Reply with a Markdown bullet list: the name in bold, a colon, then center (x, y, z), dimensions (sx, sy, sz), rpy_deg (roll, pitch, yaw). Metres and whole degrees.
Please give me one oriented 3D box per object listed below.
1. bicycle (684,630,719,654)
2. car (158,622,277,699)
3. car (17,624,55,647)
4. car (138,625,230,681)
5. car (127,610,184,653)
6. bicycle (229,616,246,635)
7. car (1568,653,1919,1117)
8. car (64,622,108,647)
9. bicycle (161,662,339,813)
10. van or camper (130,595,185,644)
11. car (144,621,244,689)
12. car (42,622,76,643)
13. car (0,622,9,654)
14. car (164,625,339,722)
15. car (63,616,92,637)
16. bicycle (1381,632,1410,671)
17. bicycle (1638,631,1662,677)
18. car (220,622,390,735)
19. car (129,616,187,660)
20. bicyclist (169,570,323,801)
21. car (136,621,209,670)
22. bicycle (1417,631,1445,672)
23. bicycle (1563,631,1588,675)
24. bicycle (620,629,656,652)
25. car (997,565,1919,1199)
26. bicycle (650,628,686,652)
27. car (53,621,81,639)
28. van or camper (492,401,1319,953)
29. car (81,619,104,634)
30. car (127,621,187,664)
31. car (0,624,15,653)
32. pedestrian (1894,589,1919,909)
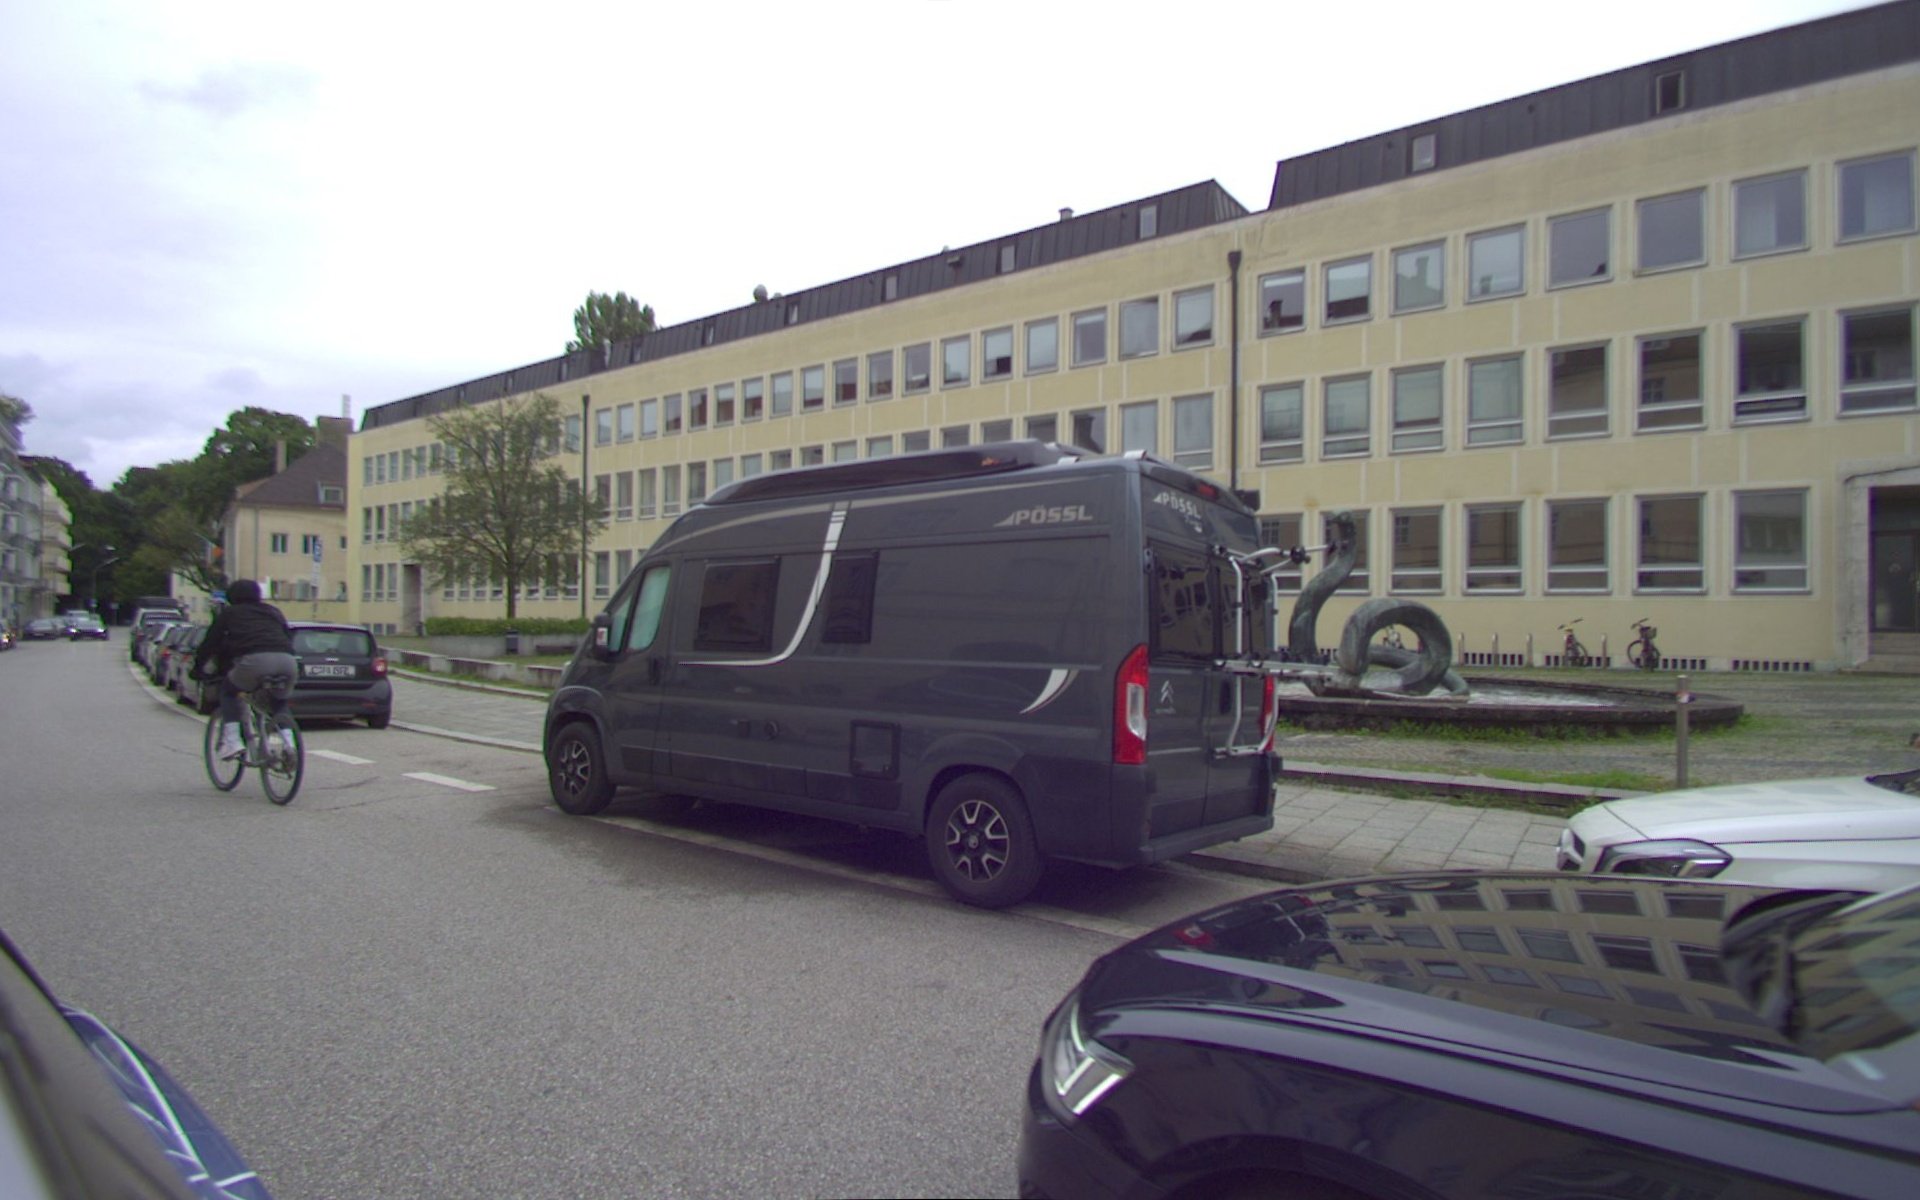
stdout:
- **bicycle**: center (-10.848, 1.755, 42.518), dimensions (0.501, 0.952, 1.594), rpy_deg (-1, -1, 27)
- **car**: center (-15.838, 1.254, 21.522), dimensions (1.611, 1.506, 3.608), rpy_deg (5, -4, -42)
- **car**: center (-62.578, 2.389, 68.585), dimensions (1.749, 1.487, 4.224), rpy_deg (1, -2, -41)
- **car**: center (-22.446, 1.503, 29.214), dimensions (1.719, 1.433, 4.300), rpy_deg (5, -4, -41)
- **car**: center (-39.316, 1.552, 49.395), dimensions (1.891, 1.975, 4.969), rpy_deg (4, -4, -41)
- **bicycle**: center (-49.488, 1.732, 69.335), dimensions (0.792, 1.243, 1.872), rpy_deg (2, -2, -39)
- **car**: center (4.573, 0.981, 3.497), dimensions (4.202, 1.462, 1.978), rpy_deg (0, -4, 33)
- **car**: center (-56.164, 2.207, 65.081), dimensions (1.968, 1.541, 4.007), rpy_deg (0, -2, -39)
- **bicycle**: center (-5.902, 1.075, 8.371), dimensions (1.933, 1.078, 0.580), rpy_deg (-1, -4, 37)
- **van or camper**: center (-47.236, 1.184, 59.682), dimensions (2.263, 2.671, 5.573), rpy_deg (4, -3, -37)
- **car**: center (-18.845, 1.307, 24.825), dimensions (1.611, 1.506, 4.281), rpy_deg (4, -3, -41)
- **car**: center (-68.931, 2.459, 77.463), dimensions (1.768, 1.493, 4.611), rpy_deg (0, -1, -40)
- **car**: center (-45.351, 1.763, 46.750), dimensions (1.750, 1.440, 4.623), rpy_deg (0, -1, -40)
- **car**: center (-12.420, 1.210, 17.629), dimensions (1.753, 1.477, 4.470), rpy_deg (5, -4, -44)
- **car**: center (-85.598, 2.584, 98.234), dimensions (1.830, 2.046, 4.792), rpy_deg (1, -2, -38)
- **bicycle**: center (11.201, 1.310, 26.039), dimensions (0.413, 0.952, 1.458), rpy_deg (-1, -1, 34)
- **bicycle**: center (15.381, 1.187, 22.576), dimensions (0.413, 0.952, 1.692), rpy_deg (-1, -1, 34)
- **car**: center (-9.664, 1.100, 14.880), dimensions (1.501, 1.477, 2.889), rpy_deg (5, -4, -44)
- **car**: center (-32.810, 1.537, 41.387), dimensions (1.693, 1.702, 4.148), rpy_deg (4, -3, -39)
- **bicyclist**: center (-5.907, 0.690, 8.382), dimensions (0.814, 1.785, 0.737), rpy_deg (-2, -5, 37)
- **car**: center (-26.165, 1.499, 33.589), dimensions (1.611, 1.506, 4.106), rpy_deg (5, -4, -41)
- **bicycle**: center (11.918, 1.292, 25.612), dimensions (0.413, 0.952, 1.458), rpy_deg (-1, -1, 34)
- **bicycle**: center (14.292, 1.220, 23.492), dimensions (0.413, 0.952, 1.458), rpy_deg (-1, -1, 34)
- **bicycle**: center (-14.439, 1.815, 45.469), dimensions (0.501, 0.952, 1.591), rpy_deg (-1, -1, 32)
- **car**: center (2.403, 0.710, 0.823), dimensions (4.706, 1.423, 1.898), rpy_deg (-1, -4, 45)
- **bicycle**: center (-12.690, 1.727, 44.027), dimensions (0.501, 0.952, 1.591), rpy_deg (-1, -1, 32)
- **car**: center (-76.310, 2.546, 86.522), dimensions (1.643, 1.478, 4.383), rpy_deg (2, -1, -41)
- **van or camper**: center (-0.751, 0.439, 7.534), dimensions (6.075, 2.601, 2.276), rpy_deg (-1, -4, 37)
- **car**: center (-95.855, 2.968, 111.820), dimensions (1.744, 1.629, 4.271), rpy_deg (1, -2, -39)
- **car**: center (-29.537, 1.538, 37.225), dimensions (1.610, 1.506, 3.826), rpy_deg (3, -3, -39)
- **car**: center (-48.528, 1.917, 50.591), dimensions (1.634, 1.440, 3.762), rpy_deg (0, -2, -40)
- **pedestrian**: center (5.900, 0.870, 5.655), dimensions (0.709, 1.881, 0.838), rpy_deg (-1, -1, 22)
